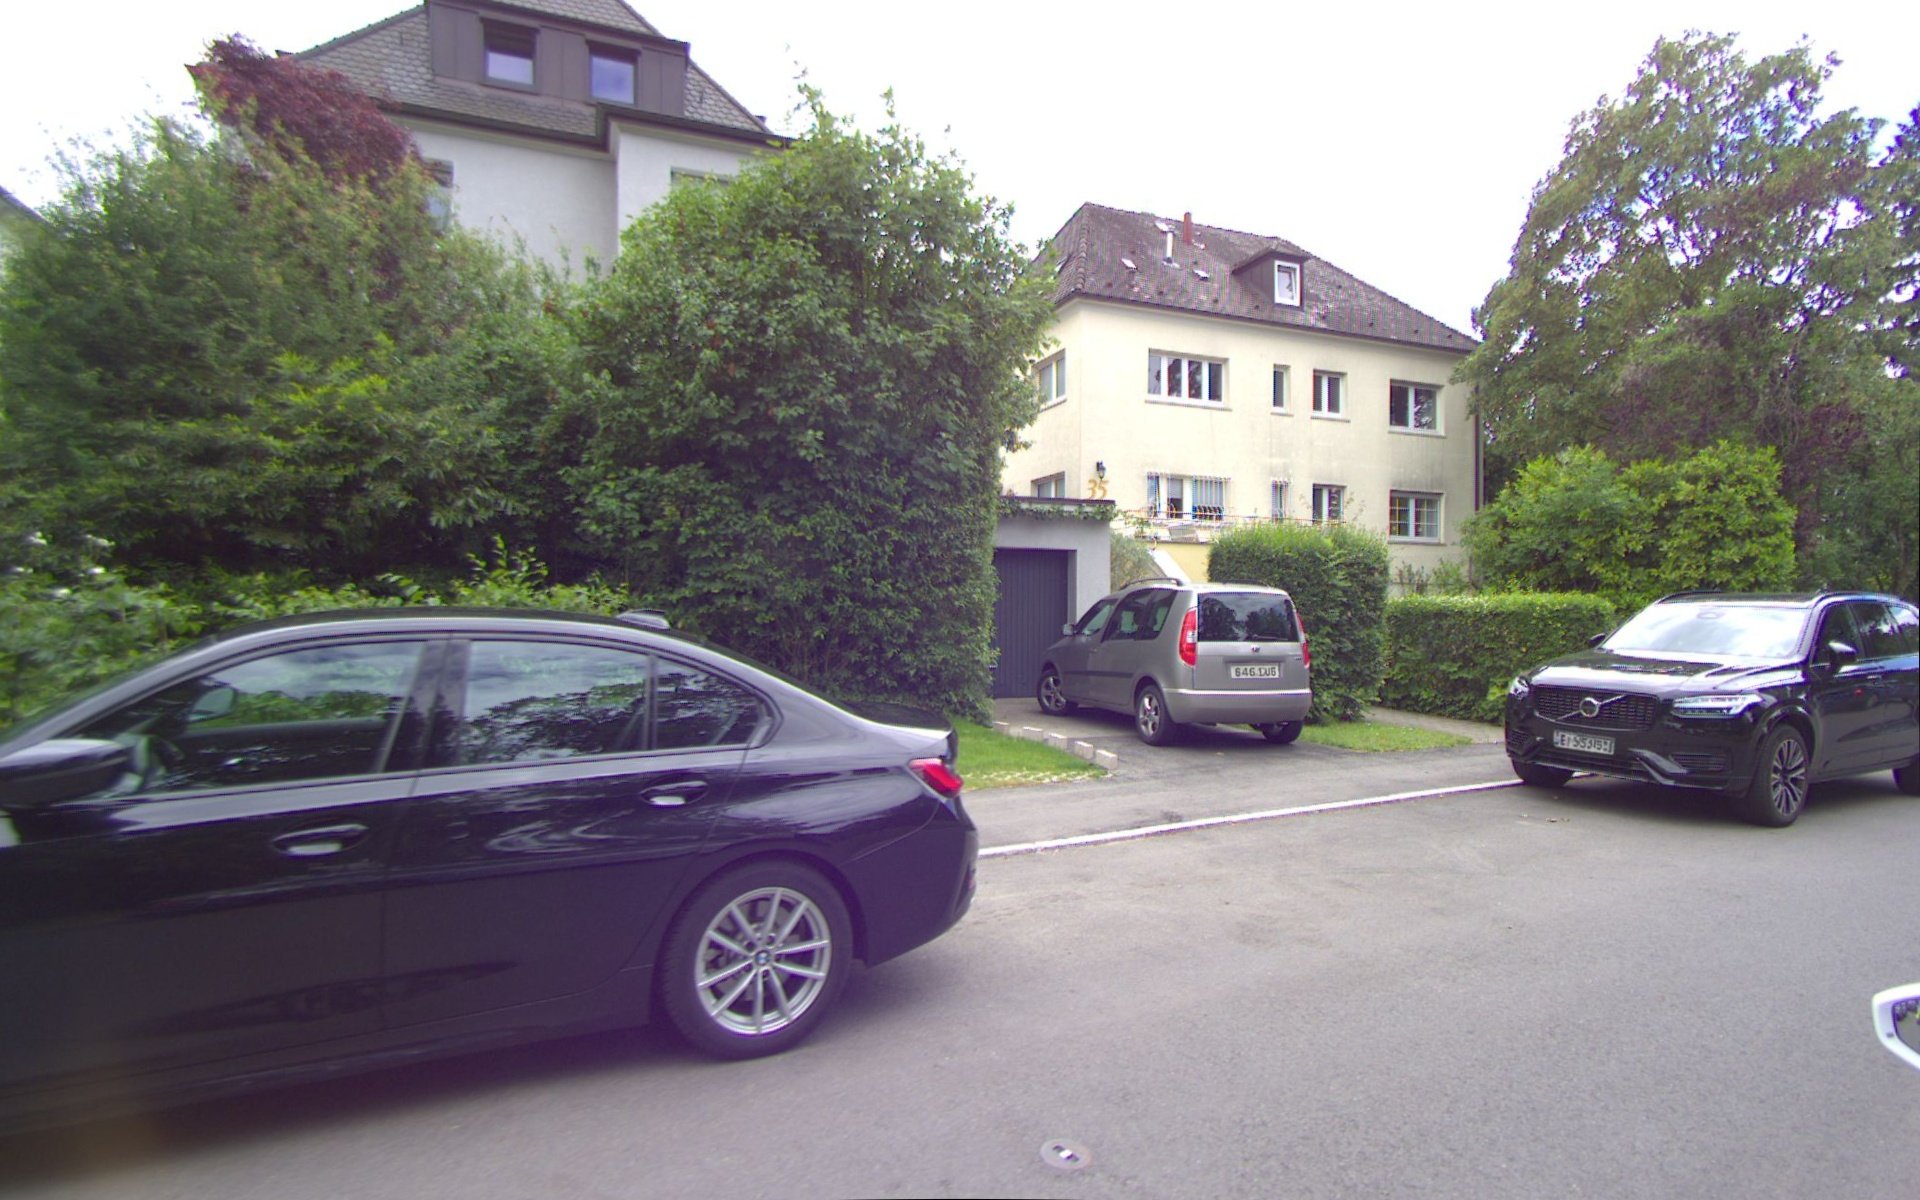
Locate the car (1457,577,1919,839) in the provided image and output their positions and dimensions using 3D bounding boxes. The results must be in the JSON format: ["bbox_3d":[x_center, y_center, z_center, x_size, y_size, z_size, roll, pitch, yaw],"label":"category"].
[{"bbox_3d":[6.924,0.762,8.854,5.125,1.760,1.966,1,0,-29],"label":"car"}]

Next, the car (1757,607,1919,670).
[{"bbox_3d":[27.086,1.127,30.591,1.843,1.614,3.973,1,2,-26],"label":"car"}]

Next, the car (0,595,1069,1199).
[{"bbox_3d":[-2.133,0.729,3.343,4.837,1.431,1.747,1,0,-29],"label":"car"}]

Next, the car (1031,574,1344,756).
[{"bbox_3d":[2.305,0.596,11.206,1.799,1.659,3.690,1,0,-17],"label":"car"}]
